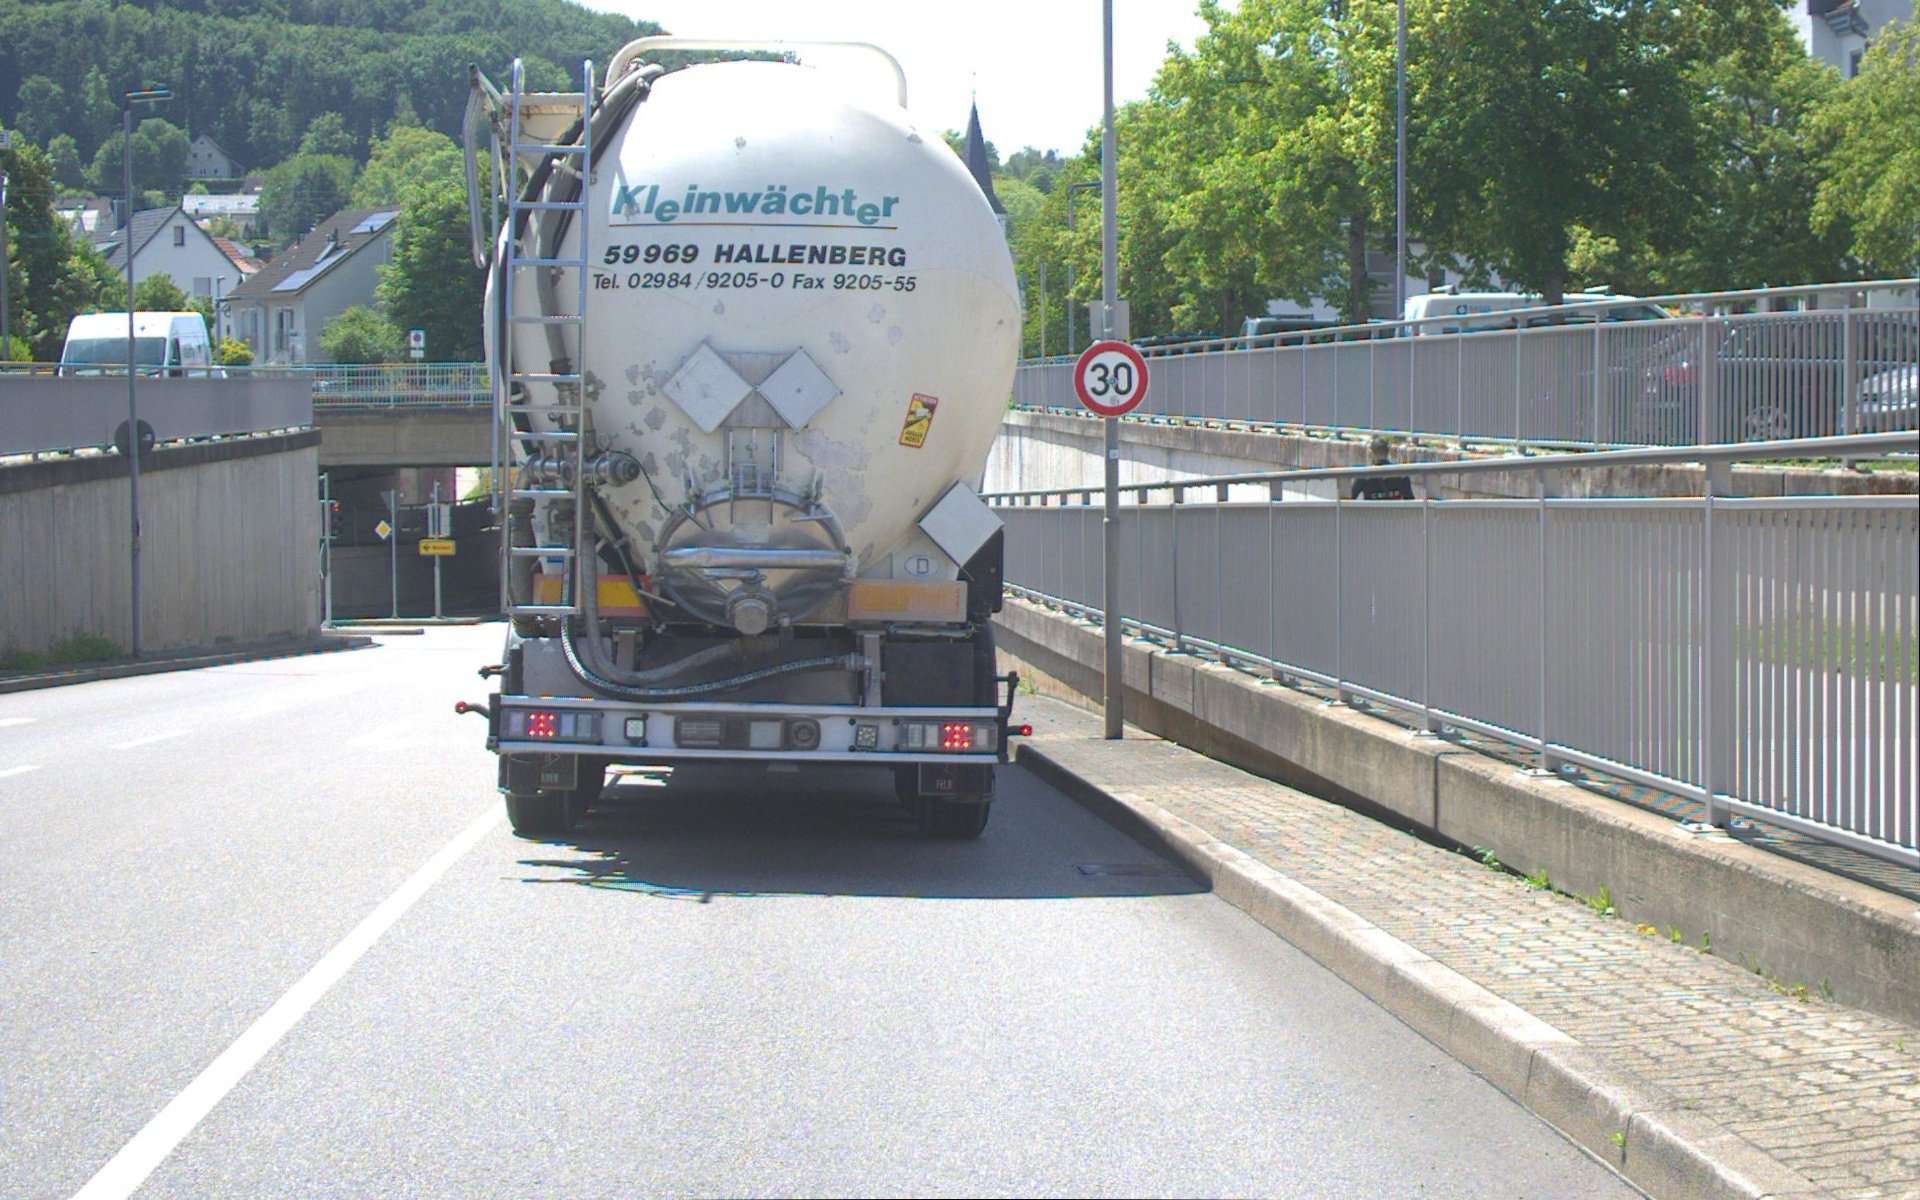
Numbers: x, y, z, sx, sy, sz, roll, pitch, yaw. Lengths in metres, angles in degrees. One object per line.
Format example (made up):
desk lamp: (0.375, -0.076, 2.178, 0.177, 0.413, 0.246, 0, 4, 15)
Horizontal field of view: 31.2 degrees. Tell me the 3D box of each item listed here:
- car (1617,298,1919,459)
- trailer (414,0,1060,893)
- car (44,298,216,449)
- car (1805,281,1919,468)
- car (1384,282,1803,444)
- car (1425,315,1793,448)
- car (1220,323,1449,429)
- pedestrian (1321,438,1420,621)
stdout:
car: (8.592, -2.128, 33.012, 4.204, 1.493, 1.686, 0, 3, -2)
trailer: (-1.263, -0.830, 21.649, 2.735, 4.050, 13.314, 1, 0, -3)
car: (-14.883, -4.064, 61.945, 2.065, 2.527, 5.663, 1, 3, -4)
car: (9.237, -1.871, 28.514, 3.986, 1.493, 1.749, 0, 3, -2)
car: (8.299, -3.118, 45.356, 5.112, 2.056, 1.989, 0, 3, -2)
car: (7.988, -2.700, 42.548, 4.204, 1.590, 1.686, 0, 3, -2)
car: (6.745, -4.053, 62.193, 3.905, 1.878, 1.686, 0, 3, -2)
pedestrian: (4.030, -0.694, 33.765, 0.836, 1.776, 0.788, 0, 1, -3)
